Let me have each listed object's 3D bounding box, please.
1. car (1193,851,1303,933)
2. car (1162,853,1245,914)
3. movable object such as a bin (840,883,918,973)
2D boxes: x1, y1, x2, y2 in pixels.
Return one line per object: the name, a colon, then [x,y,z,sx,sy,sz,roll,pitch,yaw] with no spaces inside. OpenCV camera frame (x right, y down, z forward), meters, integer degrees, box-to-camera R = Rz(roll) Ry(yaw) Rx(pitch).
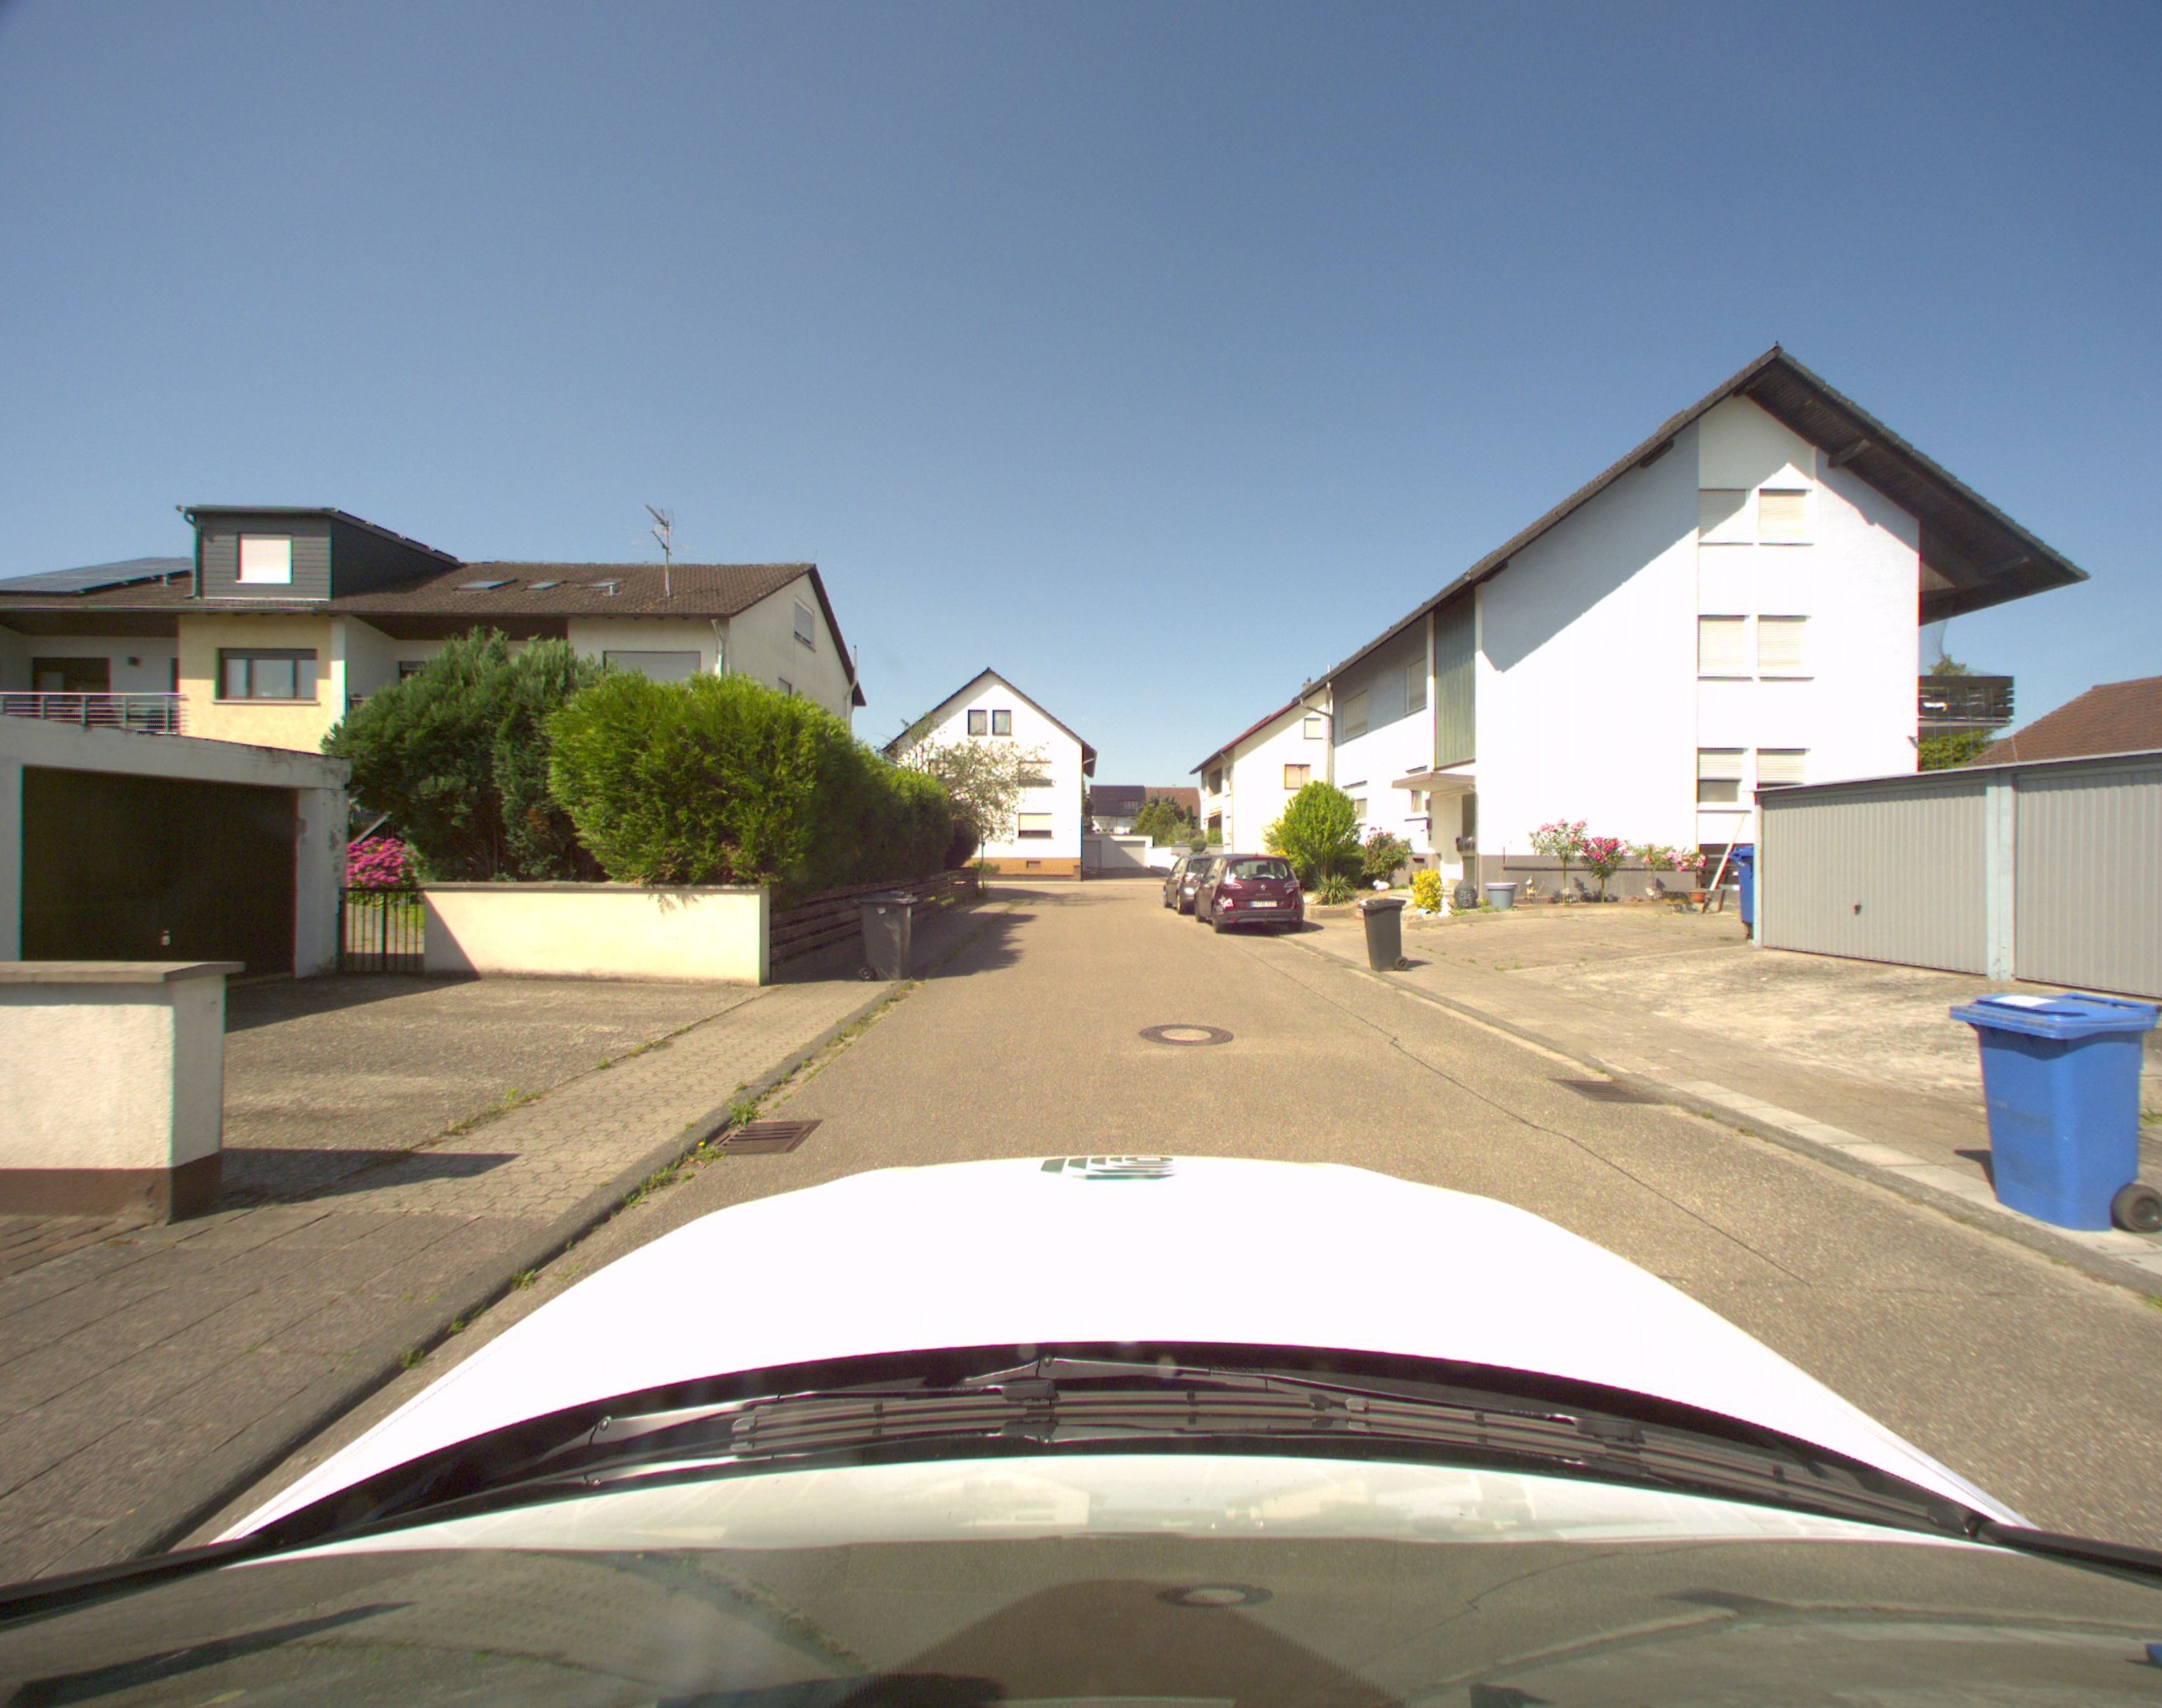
car: [3.531,0.728,17.890,1.639,1.581,4.148,0,0,1]
car: [3.337,0.741,22.816,1.640,1.546,4.045,0,0,-1]
movable object such as a bin: [-2.515,0.908,10.191,0.816,1.063,0.611,0,0,-1]
